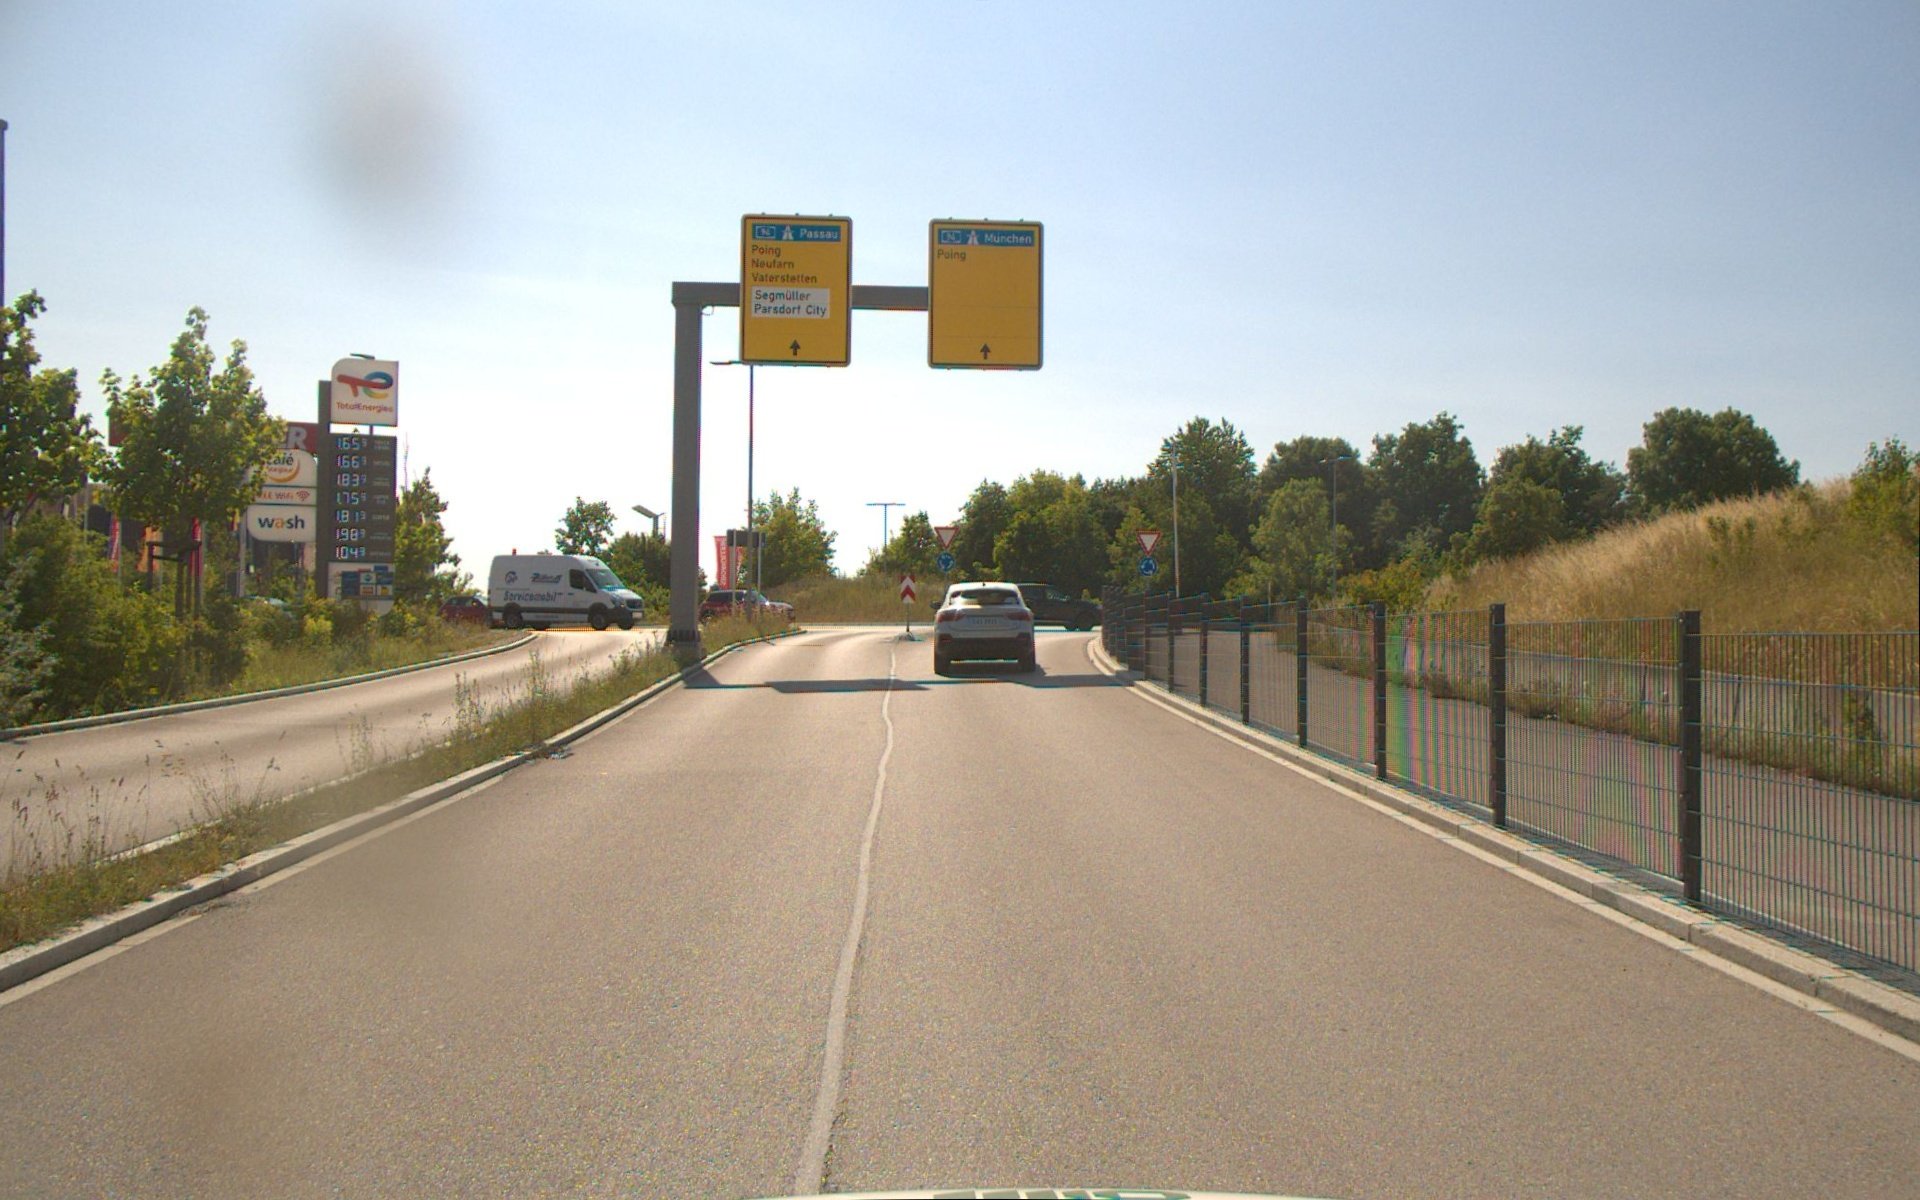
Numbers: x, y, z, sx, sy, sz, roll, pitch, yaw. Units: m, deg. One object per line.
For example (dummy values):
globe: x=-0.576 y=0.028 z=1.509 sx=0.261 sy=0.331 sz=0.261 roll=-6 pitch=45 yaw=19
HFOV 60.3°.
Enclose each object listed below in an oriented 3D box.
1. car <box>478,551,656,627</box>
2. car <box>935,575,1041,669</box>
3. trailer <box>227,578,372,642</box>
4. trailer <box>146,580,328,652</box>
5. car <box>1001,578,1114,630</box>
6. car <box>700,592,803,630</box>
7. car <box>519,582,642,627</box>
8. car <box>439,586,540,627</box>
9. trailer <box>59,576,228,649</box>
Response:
car: x=-14.048 y=-0.390 z=59.110 sx=6.046 sy=2.599 sz=2.090 roll=1 pitch=0 yaw=22
car: x=0.448 y=0.385 z=30.584 sx=1.804 sy=1.624 sz=4.324 roll=0 pitch=0 yaw=-1
trailer: x=-19.564 y=0.262 z=49.051 sx=3.659 sy=1.803 sz=1.783 roll=-1 pitch=1 yaw=-38
trailer: x=-17.275 y=0.389 z=39.572 sx=3.658 sy=1.477 sz=1.685 roll=5 pitch=-3 yaw=-38
car: x=3.423 y=0.150 z=58.756 sx=3.769 sy=1.747 sz=1.998 roll=1 pitch=0 yaw=-4
car: x=-8.195 y=0.422 z=65.225 sx=3.724 sy=1.430 sz=1.627 roll=1 pitch=0 yaw=7
car: x=-20.282 y=0.257 z=88.567 sx=6.221 sy=2.273 sz=2.008 roll=1 pitch=-1 yaw=-43
car: x=-19.820 y=0.291 z=69.748 sx=3.643 sy=1.646 sz=1.874 roll=1 pitch=0 yaw=12
trailer: x=-21.147 y=0.336 z=42.893 sx=3.658 sy=1.803 sz=1.783 roll=1 pitch=0 yaw=-38
